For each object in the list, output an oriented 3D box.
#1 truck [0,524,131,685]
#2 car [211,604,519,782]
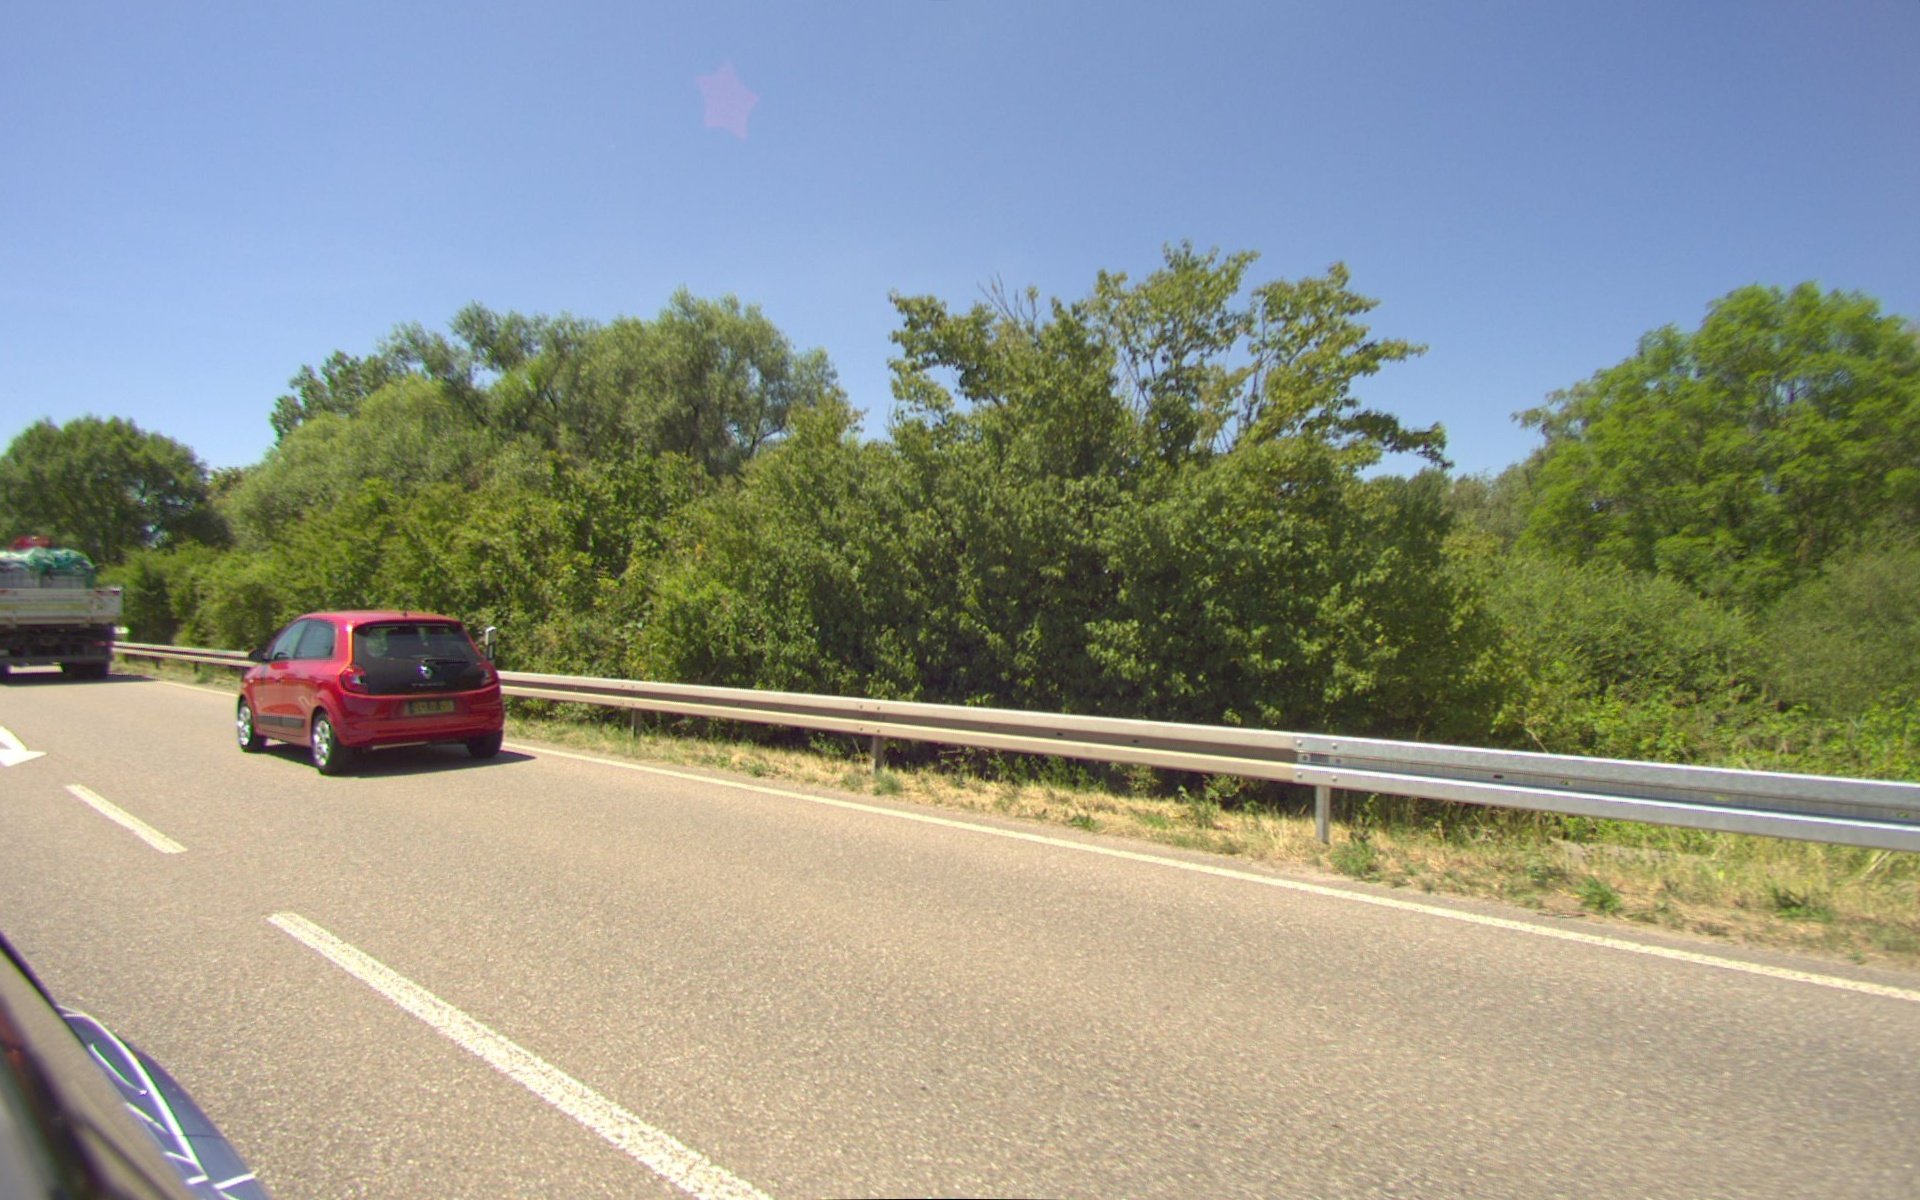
[{"bbox_3d":[-22.977,0.158,24.834,7.984,3.431,2.755,-1,-1,41],"label":"truck"},{"bbox_3d":[-6.453,0.854,10.801,3.997,1.564,1.636,-1,-1,41],"label":"car"}]
